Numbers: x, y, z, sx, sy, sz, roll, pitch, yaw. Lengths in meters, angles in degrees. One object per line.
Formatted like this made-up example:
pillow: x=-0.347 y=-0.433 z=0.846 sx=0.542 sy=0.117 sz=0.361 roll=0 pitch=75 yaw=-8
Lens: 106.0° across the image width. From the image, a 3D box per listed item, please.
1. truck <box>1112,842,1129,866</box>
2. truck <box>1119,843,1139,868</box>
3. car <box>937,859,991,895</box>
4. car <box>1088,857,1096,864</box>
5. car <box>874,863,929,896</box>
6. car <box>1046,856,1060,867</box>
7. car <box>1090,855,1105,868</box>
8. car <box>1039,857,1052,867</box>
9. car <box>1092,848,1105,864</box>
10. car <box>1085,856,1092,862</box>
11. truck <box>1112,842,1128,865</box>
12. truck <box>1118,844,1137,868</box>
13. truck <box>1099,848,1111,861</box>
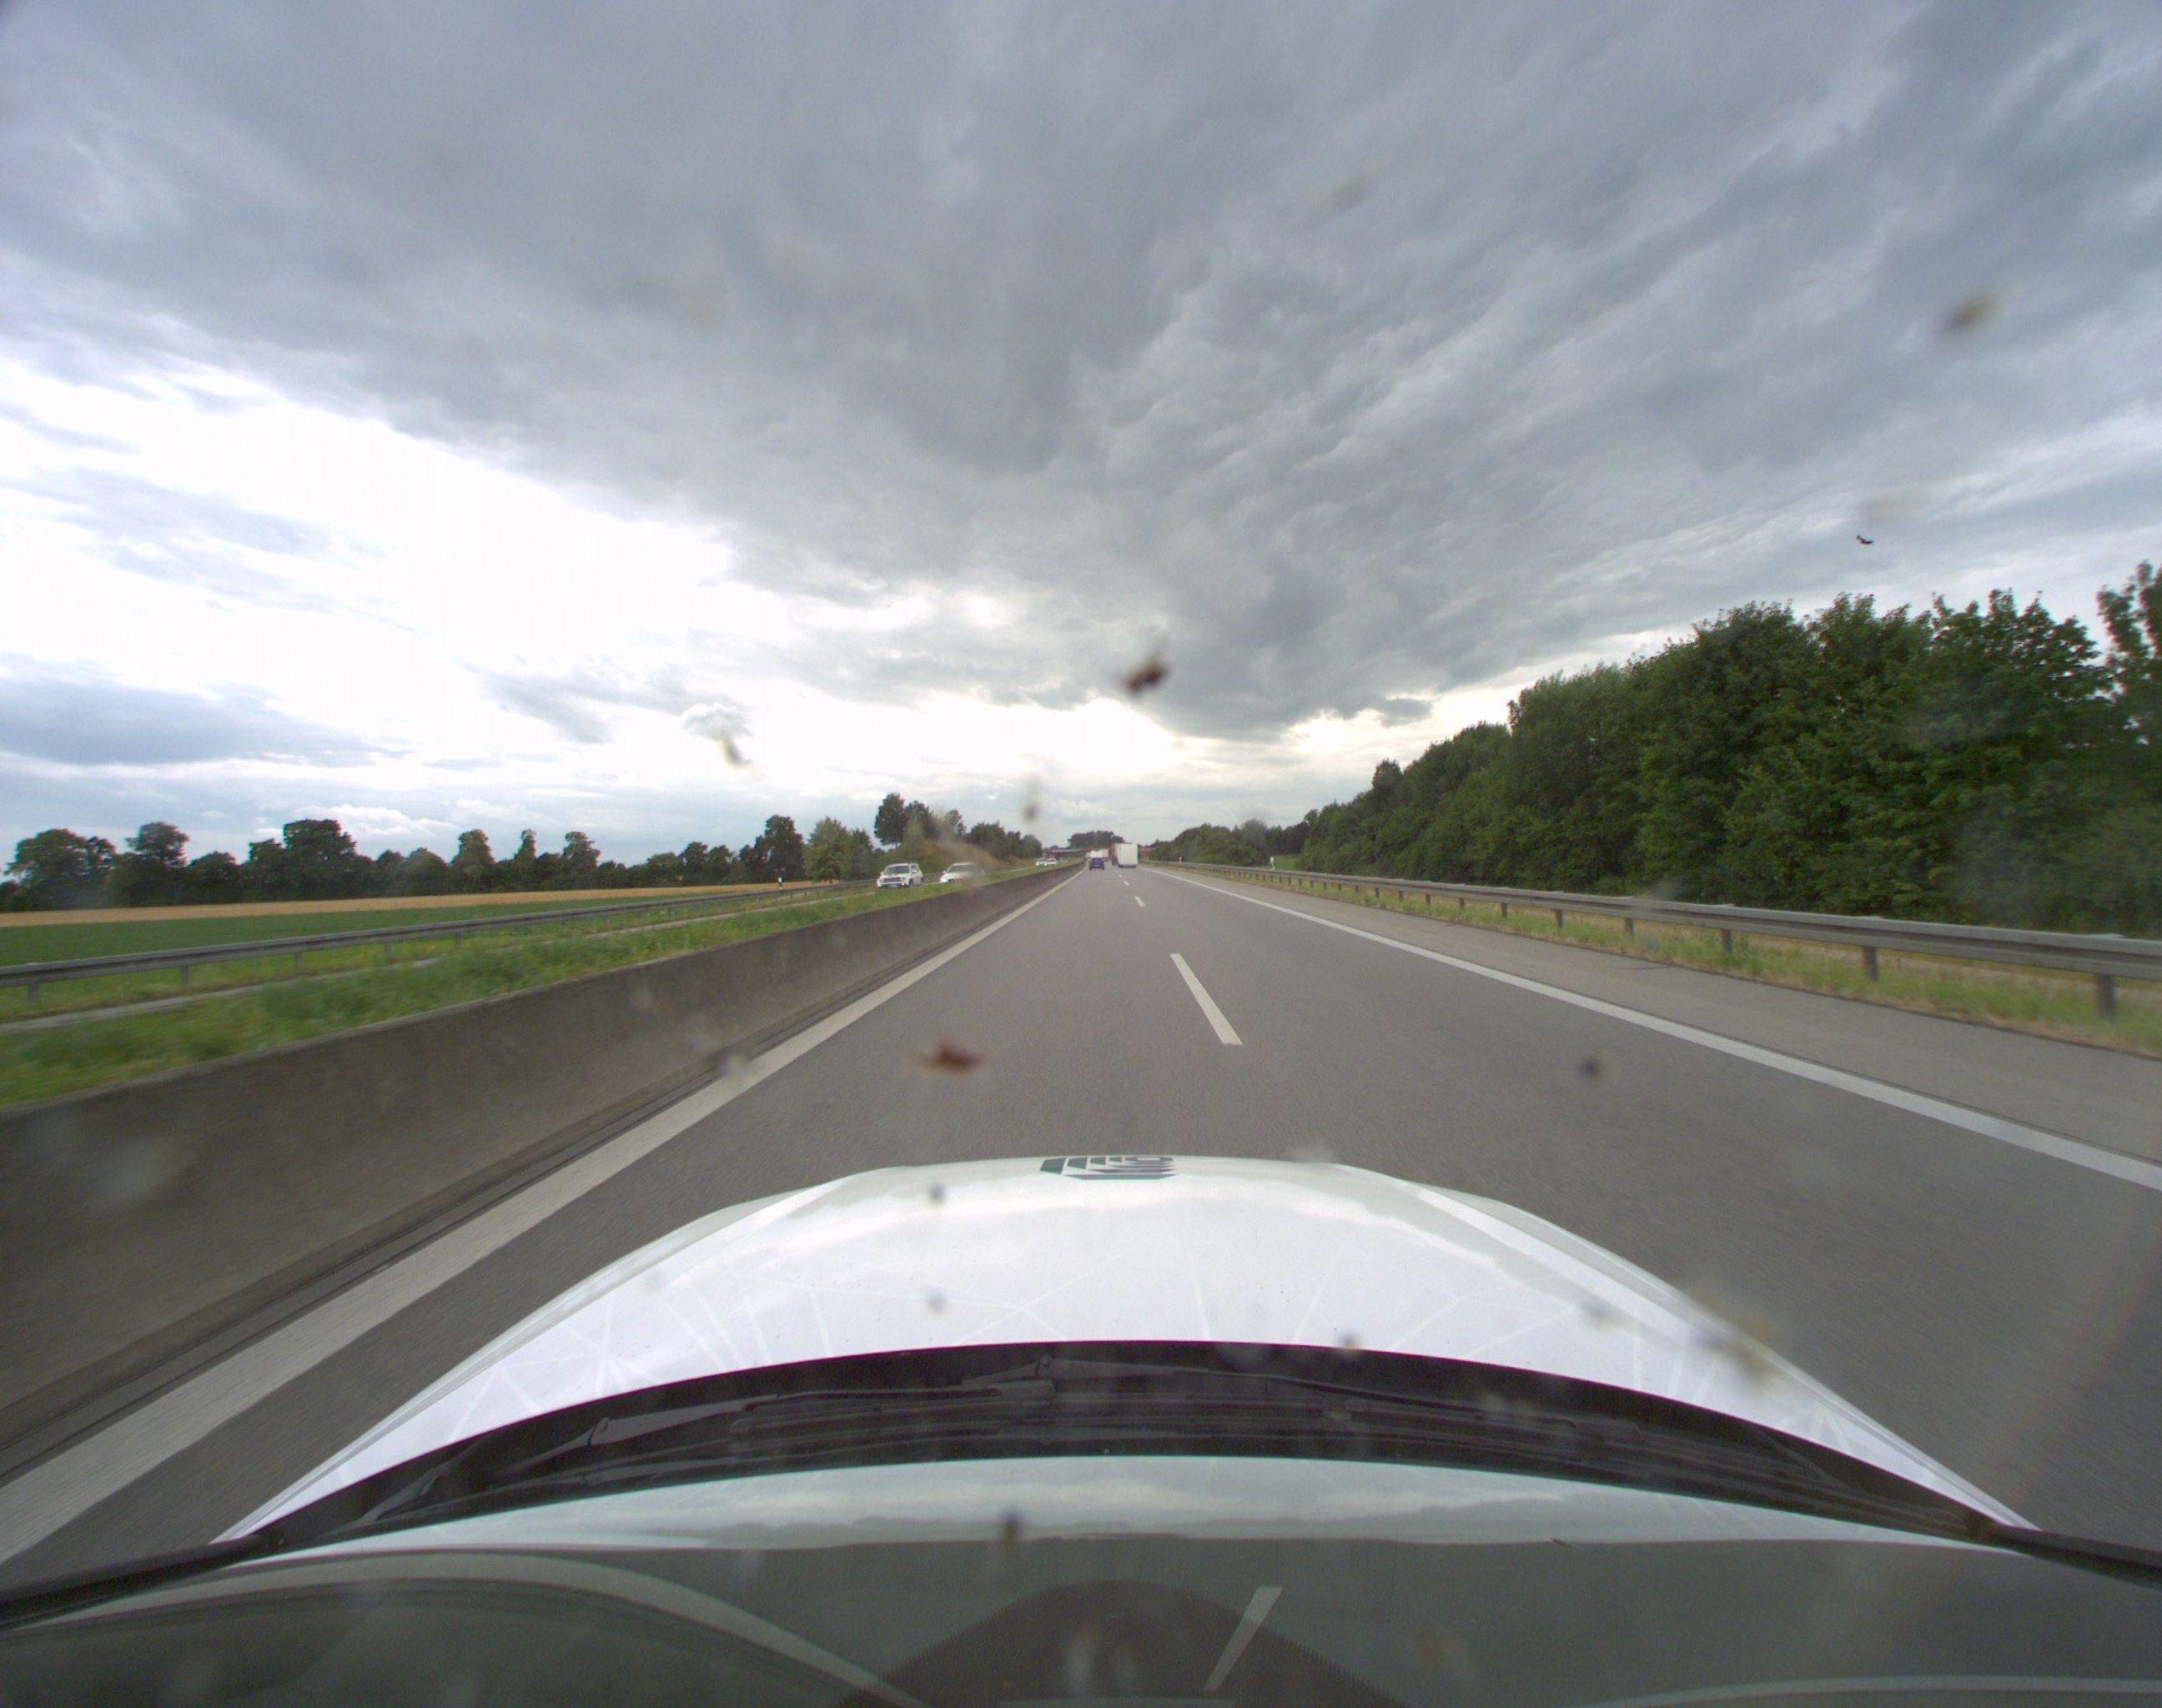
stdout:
truck: x=7.022 y=-0.086 z=145.334 sx=2.663 sy=4.045 sz=11.113 roll=-2 pitch=0 yaw=2
truck: x=6.290 y=0.213 z=108.131 sx=2.406 sy=3.222 sz=7.146 roll=-1 pitch=-1 yaw=2
car: x=-6.185 y=1.177 z=43.583 sx=1.940 sy=1.694 sz=5.176 roll=-3 pitch=0 yaw=1
car: x=2.846 y=1.672 z=214.596 sx=1.928 sy=1.643 sz=4.904 roll=-2 pitch=-1 yaw=1
car: x=-9.934 y=1.386 z=45.430 sx=1.829 sy=1.626 sz=4.692 roll=-3 pitch=0 yaw=1
car: x=-4.281 y=1.133 z=124.791 sx=1.859 sy=1.574 sz=4.990 roll=-3 pitch=0 yaw=1
car: x=1.821 y=0.889 z=92.507 sx=1.658 sy=1.407 sz=3.649 roll=-1 pitch=0 yaw=1
car: x=-6.004 y=1.262 z=138.057 sx=1.859 sy=1.574 sz=4.693 roll=-3 pitch=0 yaw=0
car: x=2.836 y=0.283 z=132.123 sx=2.123 sy=2.483 sz=5.840 roll=-2 pitch=-1 yaw=1
car: x=2.262 y=1.553 z=245.071 sx=1.988 sy=1.684 sz=3.996 roll=-1 pitch=-1 yaw=-2
truck: x=7.212 y=-0.098 z=150.709 sx=2.663 sy=4.045 sz=5.515 roll=-2 pitch=0 yaw=2
truck: x=6.510 y=0.251 z=115.314 sx=2.421 sy=3.243 sz=7.249 roll=-1 pitch=-1 yaw=2
truck: x=7.539 y=0.146 z=257.293 sx=3.101 sy=3.689 sz=9.319 roll=-4 pitch=-1 yaw=0
